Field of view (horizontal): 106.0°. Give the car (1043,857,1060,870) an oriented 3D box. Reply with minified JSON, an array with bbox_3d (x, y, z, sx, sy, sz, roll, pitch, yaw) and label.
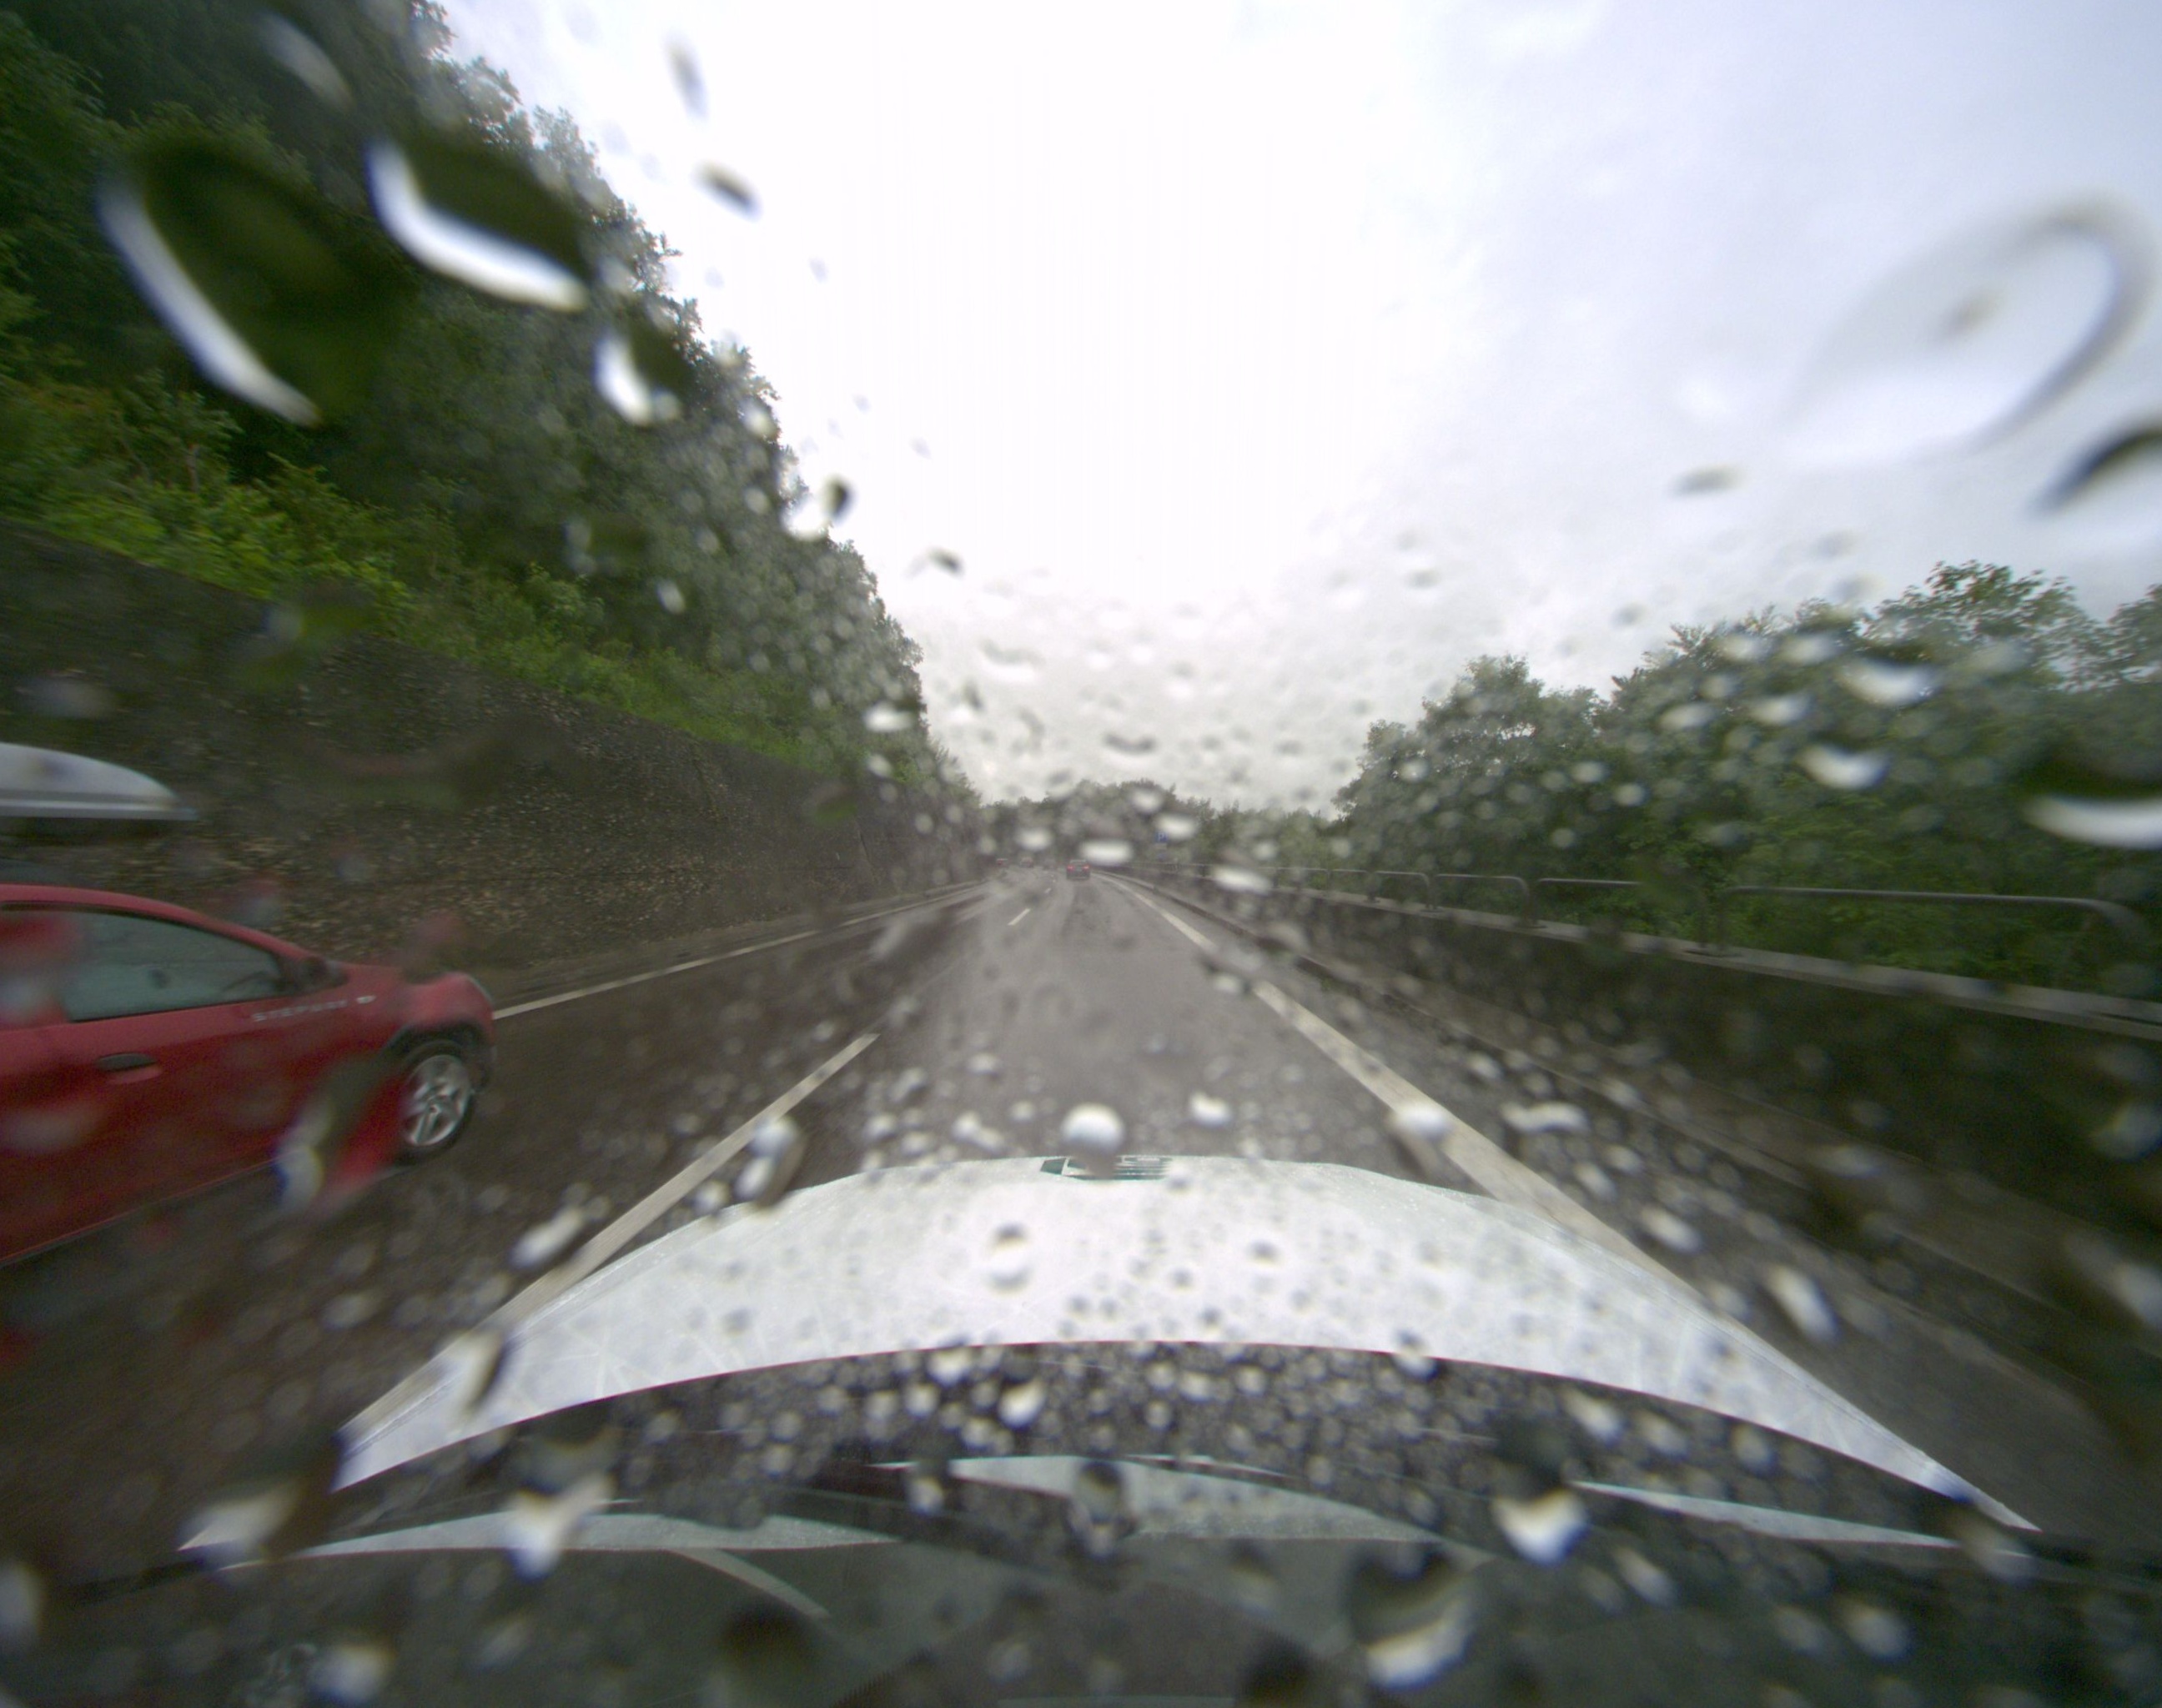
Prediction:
[{"bbox_3d":[-3.943,1.275,108.187,1.991,1.750,3.991,-1,-1,-6],"label":"car"}]

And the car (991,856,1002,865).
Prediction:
[{"bbox_3d":[-18.972,1.407,183.645,1.996,2.014,3.982,0,-1,-13],"label":"car"}]

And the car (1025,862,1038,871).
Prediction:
[{"bbox_3d":[-8.319,2.029,135.812,1.800,1.467,3.987,-1,0,-9],"label":"car"}]

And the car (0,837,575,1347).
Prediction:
[{"bbox_3d":[-4.246,0.744,3.024,1.984,1.552,4.005,-1,0,5],"label":"car"}]

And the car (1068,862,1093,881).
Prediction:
[{"bbox_3d":[-0.066,1.328,62.795,1.795,1.308,3.997,-1,0,-2],"label":"car"}]

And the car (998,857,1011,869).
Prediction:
[{"bbox_3d":[-12.460,1.516,133.068,1.992,1.904,3.989,0,-1,-8],"label":"car"}]
